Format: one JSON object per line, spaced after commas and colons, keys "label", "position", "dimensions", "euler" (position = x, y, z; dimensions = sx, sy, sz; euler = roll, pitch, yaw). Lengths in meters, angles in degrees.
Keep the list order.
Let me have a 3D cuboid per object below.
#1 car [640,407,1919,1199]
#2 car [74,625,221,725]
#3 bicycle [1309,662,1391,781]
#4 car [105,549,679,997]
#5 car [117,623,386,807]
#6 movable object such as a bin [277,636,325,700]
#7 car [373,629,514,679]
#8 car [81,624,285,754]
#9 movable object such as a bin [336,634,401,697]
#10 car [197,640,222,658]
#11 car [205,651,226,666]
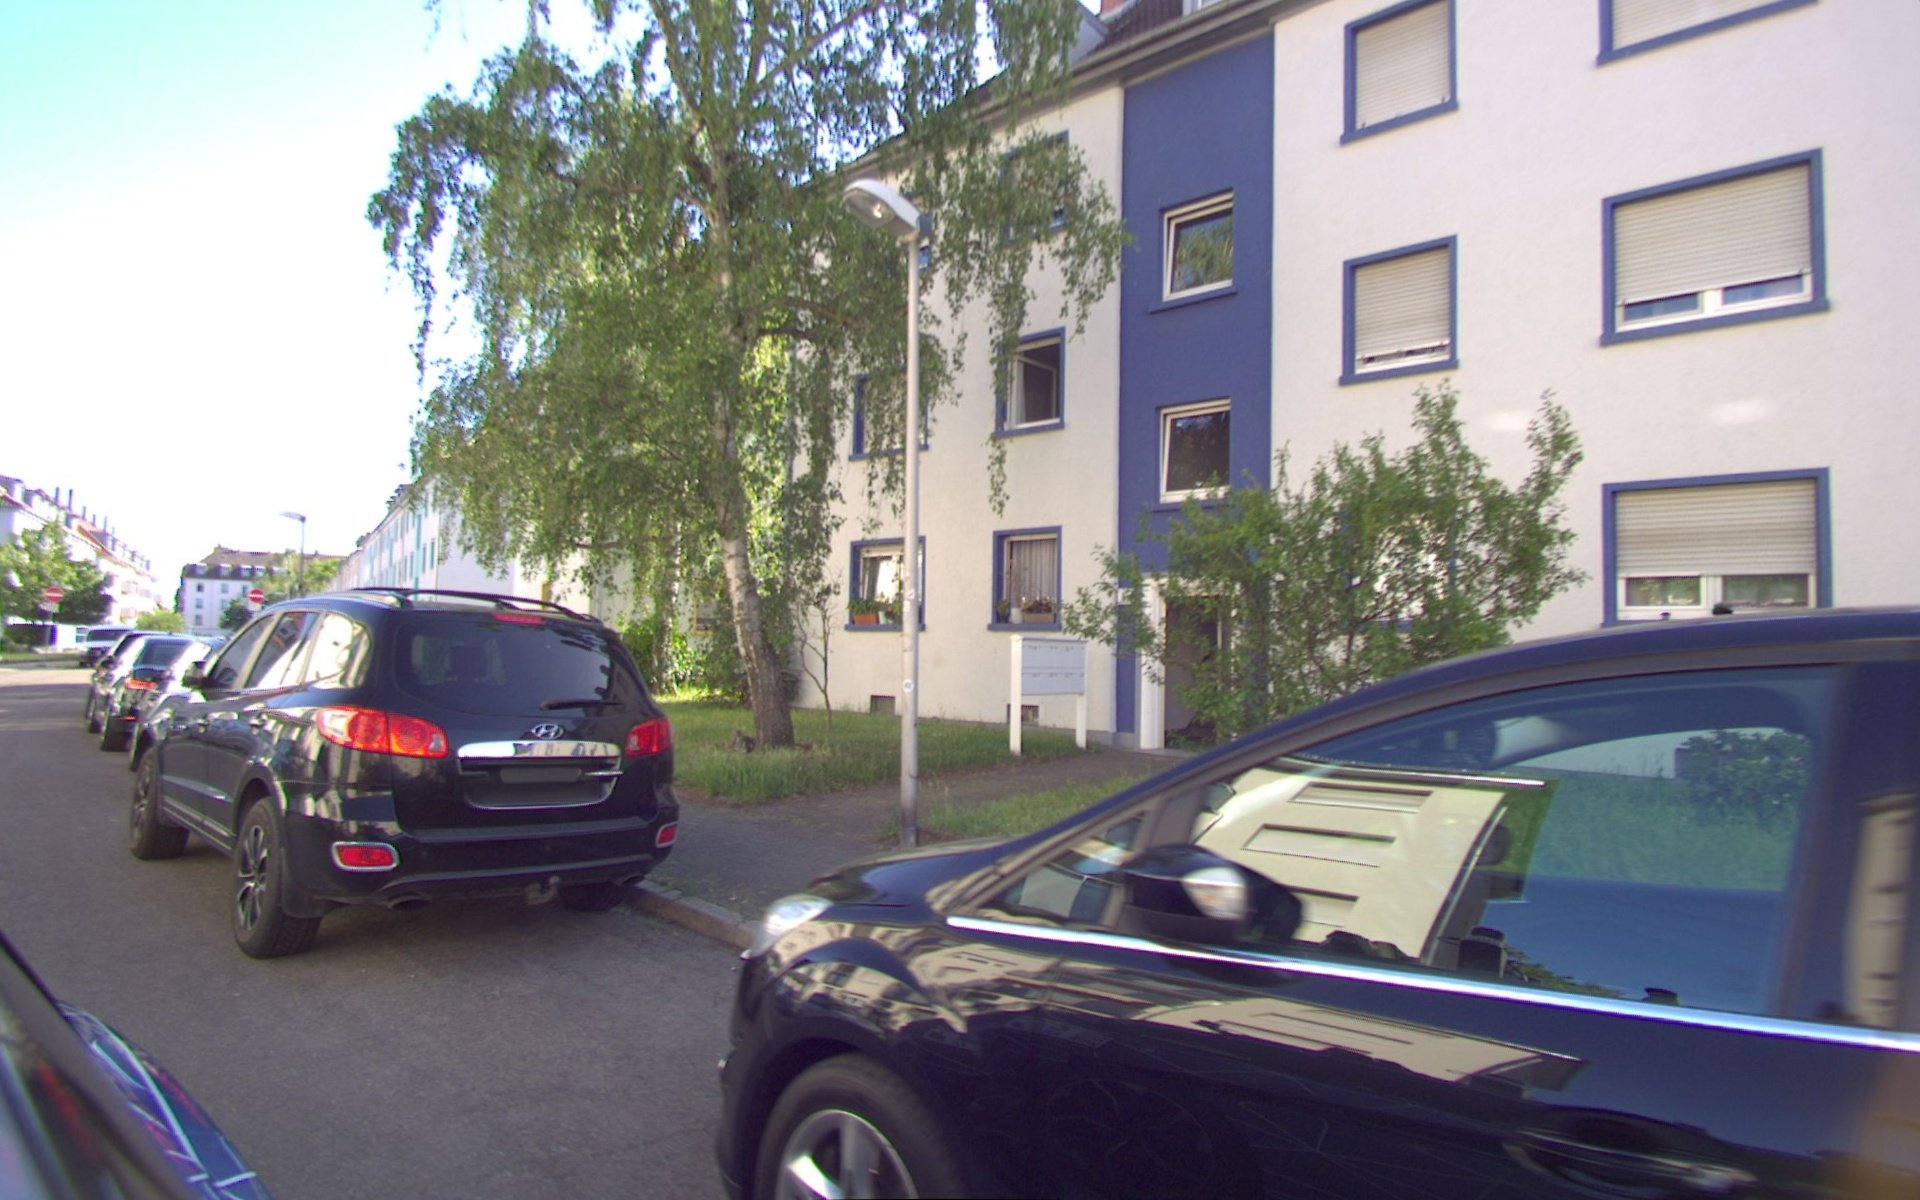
{"label": "car", "position": [1.403, 0.684, 1.694], "dimensions": [4.154, 1.572, 1.676], "euler": [-3, -9, 41]}
{"label": "car", "position": [-14.103, 1.273, 17.611], "dimensions": [1.657, 1.464, 4.629], "euler": [8, -7, -38]}
{"label": "bicycle", "position": [4.131, 1.260, 10.679], "dimensions": [0.415, 1.161, 1.395], "euler": [-2, -5, 38]}
{"label": "car", "position": [-3.585, 0.788, 5.979], "dimensions": [4.337, 1.727, 1.538], "euler": [-2, -7, 43]}
{"label": "car", "position": [-7.135, 1.038, 10.023], "dimensions": [1.537, 1.453, 3.972], "euler": [8, -7, -42]}
{"label": "movable object such as a bin", "position": [-14.883, 1.535, 22.852], "dimensions": [0.765, 1.403, 1.420], "euler": [4, -5, -36]}
{"label": "car", "position": [-19.303, 2.023, 37.911], "dimensions": [4.428, 1.676, 1.724], "euler": [5, -4, -34]}
{"label": "car", "position": [-10.486, 1.151, 13.539], "dimensions": [1.658, 1.453, 4.284], "euler": [8, -7, -42]}
{"label": "movable object such as a bin", "position": [-13.427, 1.479, 22.977], "dimensions": [1.203, 1.391, 0.769], "euler": [2, -4, -32]}
{"label": "car", "position": [-84.175, 5.510, 113.526], "dimensions": [1.922, 1.915, 4.777], "euler": [4, -4, -33]}
{"label": "car", "position": [-87.072, 6.838, 118.414], "dimensions": [1.681, 1.583, 4.747], "euler": [4, -4, -33]}
